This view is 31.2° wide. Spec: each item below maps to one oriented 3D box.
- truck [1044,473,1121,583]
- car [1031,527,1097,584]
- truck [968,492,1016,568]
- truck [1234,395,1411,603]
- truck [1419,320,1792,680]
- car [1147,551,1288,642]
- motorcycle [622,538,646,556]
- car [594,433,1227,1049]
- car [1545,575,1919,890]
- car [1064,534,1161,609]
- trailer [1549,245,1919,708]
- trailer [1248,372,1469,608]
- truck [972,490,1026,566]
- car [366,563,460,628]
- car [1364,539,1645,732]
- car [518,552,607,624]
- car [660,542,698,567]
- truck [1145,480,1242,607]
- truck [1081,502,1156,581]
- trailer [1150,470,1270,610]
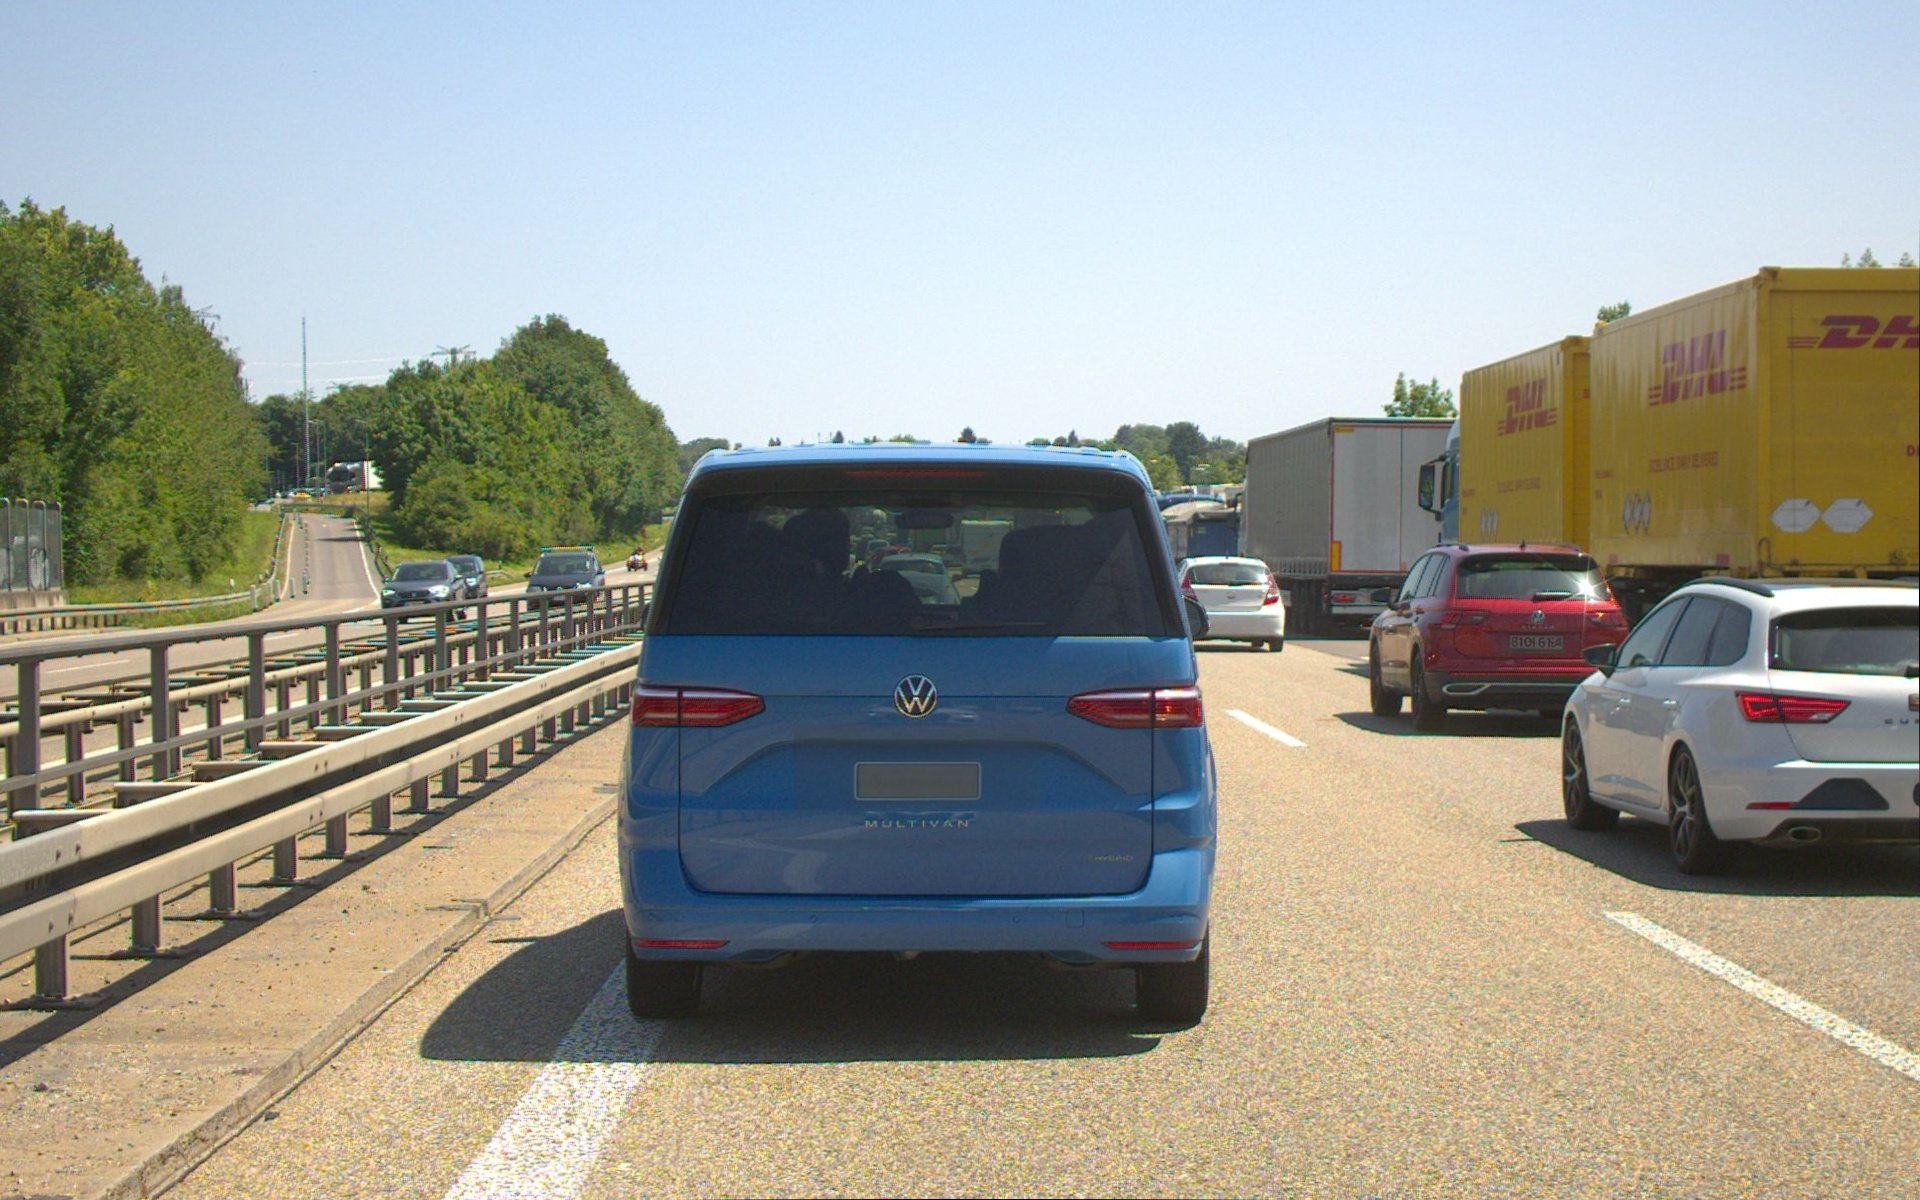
[{"bbox_3d":[5.780,-3.371,164.479,2.833,5.023,11.147,1,0,-2],"label":"truck"},{"bbox_3d":[2.954,-1.280,98.493,1.715,1.535,3.821,-1,1,0],"label":"car"},{"bbox_3d":[2.281,-5.029,250.094,2.833,5.354,12.556,1,0,-2],"label":"truck"},{"bbox_3d":[7.476,-2.023,71.721,2.768,4.081,6.984,1,0,-1],"label":"truck"},{"bbox_3d":[8.005,-1.159,44.131,2.722,4.041,10.336,1,0,0],"label":"truck"},{"bbox_3d":[4.097,-0.078,55.263,1.838,1.409,4.000,0,1,-2],"label":"car"},{"bbox_3d":[-21.639,-3.537,228.260,1.366,1.095,2.576,-3,1,-1],"label":"motorcycle"},{"bbox_3d":[-0.164,0.392,12.244,1.882,1.831,4.000,0,1,0],"label":"car"},{"bbox_3d":[4.252,0.584,17.547,1.781,1.382,4.188,0,1,0],"label":"car"},{"bbox_3d":[3.325,-0.641,75.716,1.715,1.581,3.821,-1,1,-3],"label":"car"},{"bbox_3d":[8.093,-1.093,34.473,2.701,4.010,8.931,1,0,-1],"label":"trailer"},{"bbox_3d":[7.526,-1.971,66.486,2.755,4.132,11.312,1,0,-1],"label":"trailer"},{"bbox_3d":[2.557,-4.804,229.225,2.833,4.869,13.222,-1,1,-2],"label":"truck"},{"bbox_3d":[-13.993,-0.123,88.081,1.754,1.542,4.000,-2,0,-1],"label":"car"},{"bbox_3d":[4.793,0.263,30.776,1.851,1.603,4.000,0,1,0],"label":"car"},{"bbox_3d":[-9.943,-0.331,86.223,1.754,1.715,4.101,-1,1,0],"label":"car"},{"bbox_3d":[-16.518,-2.677,202.544,1.910,1.389,4.165,-2,0,-1],"label":"car"},{"bbox_3d":[7.046,-1.678,104.292,2.367,3.709,6.034,1,0,-1],"label":"truck"},{"bbox_3d":[6.726,-2.443,147.037,2.355,3.207,9.742,1,0,-2],"label":"truck"},{"bbox_3d":[7.069,-1.653,98.696,2.379,3.731,11.189,1,0,-1],"label":"trailer"}]
